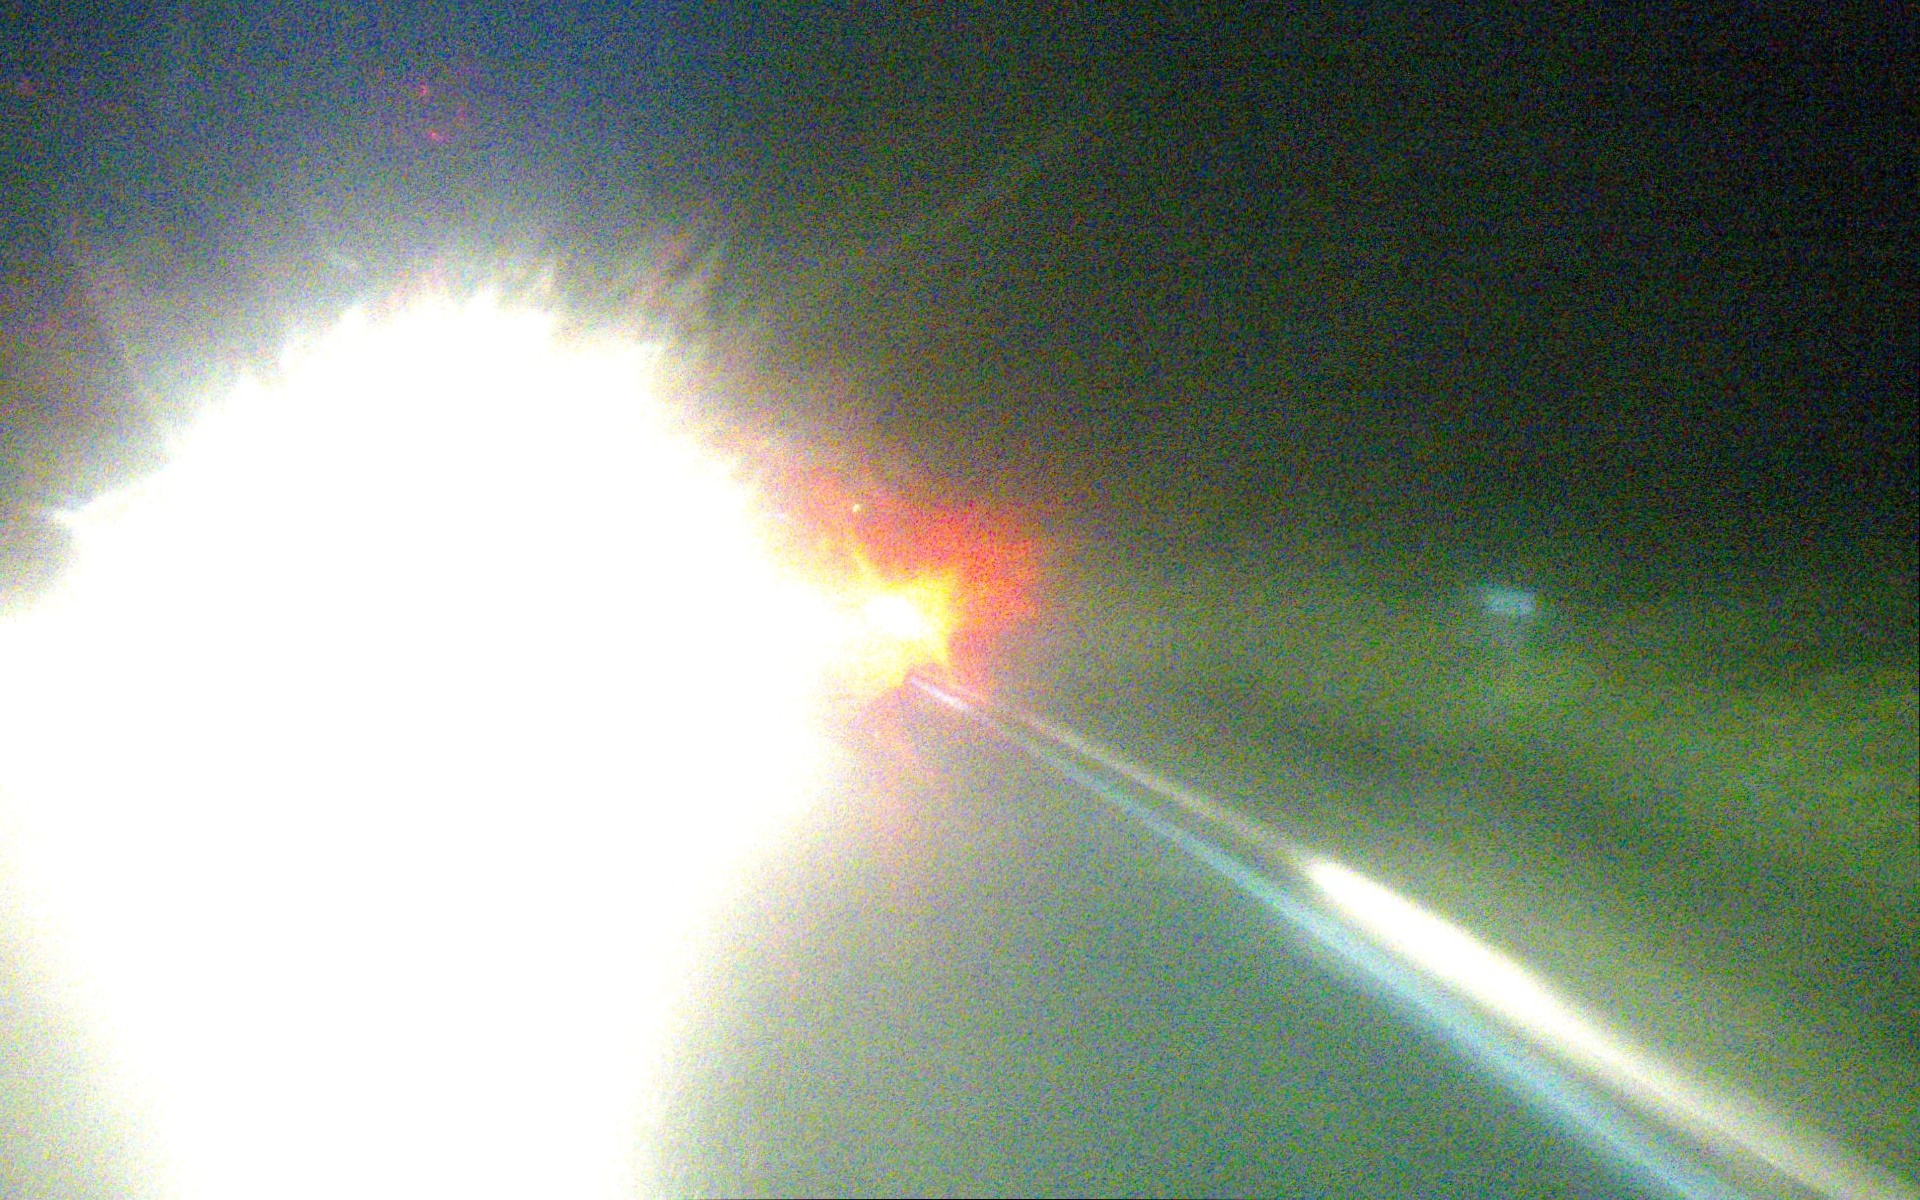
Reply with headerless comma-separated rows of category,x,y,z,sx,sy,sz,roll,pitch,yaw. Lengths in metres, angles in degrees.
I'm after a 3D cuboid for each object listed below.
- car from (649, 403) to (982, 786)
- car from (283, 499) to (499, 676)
car,-1.080,-0.092,25.961,2.181,2.548,4.508,3,1,-2
car,-5.360,-0.165,32.748,1.563,1.520,3.486,-3,2,-3
